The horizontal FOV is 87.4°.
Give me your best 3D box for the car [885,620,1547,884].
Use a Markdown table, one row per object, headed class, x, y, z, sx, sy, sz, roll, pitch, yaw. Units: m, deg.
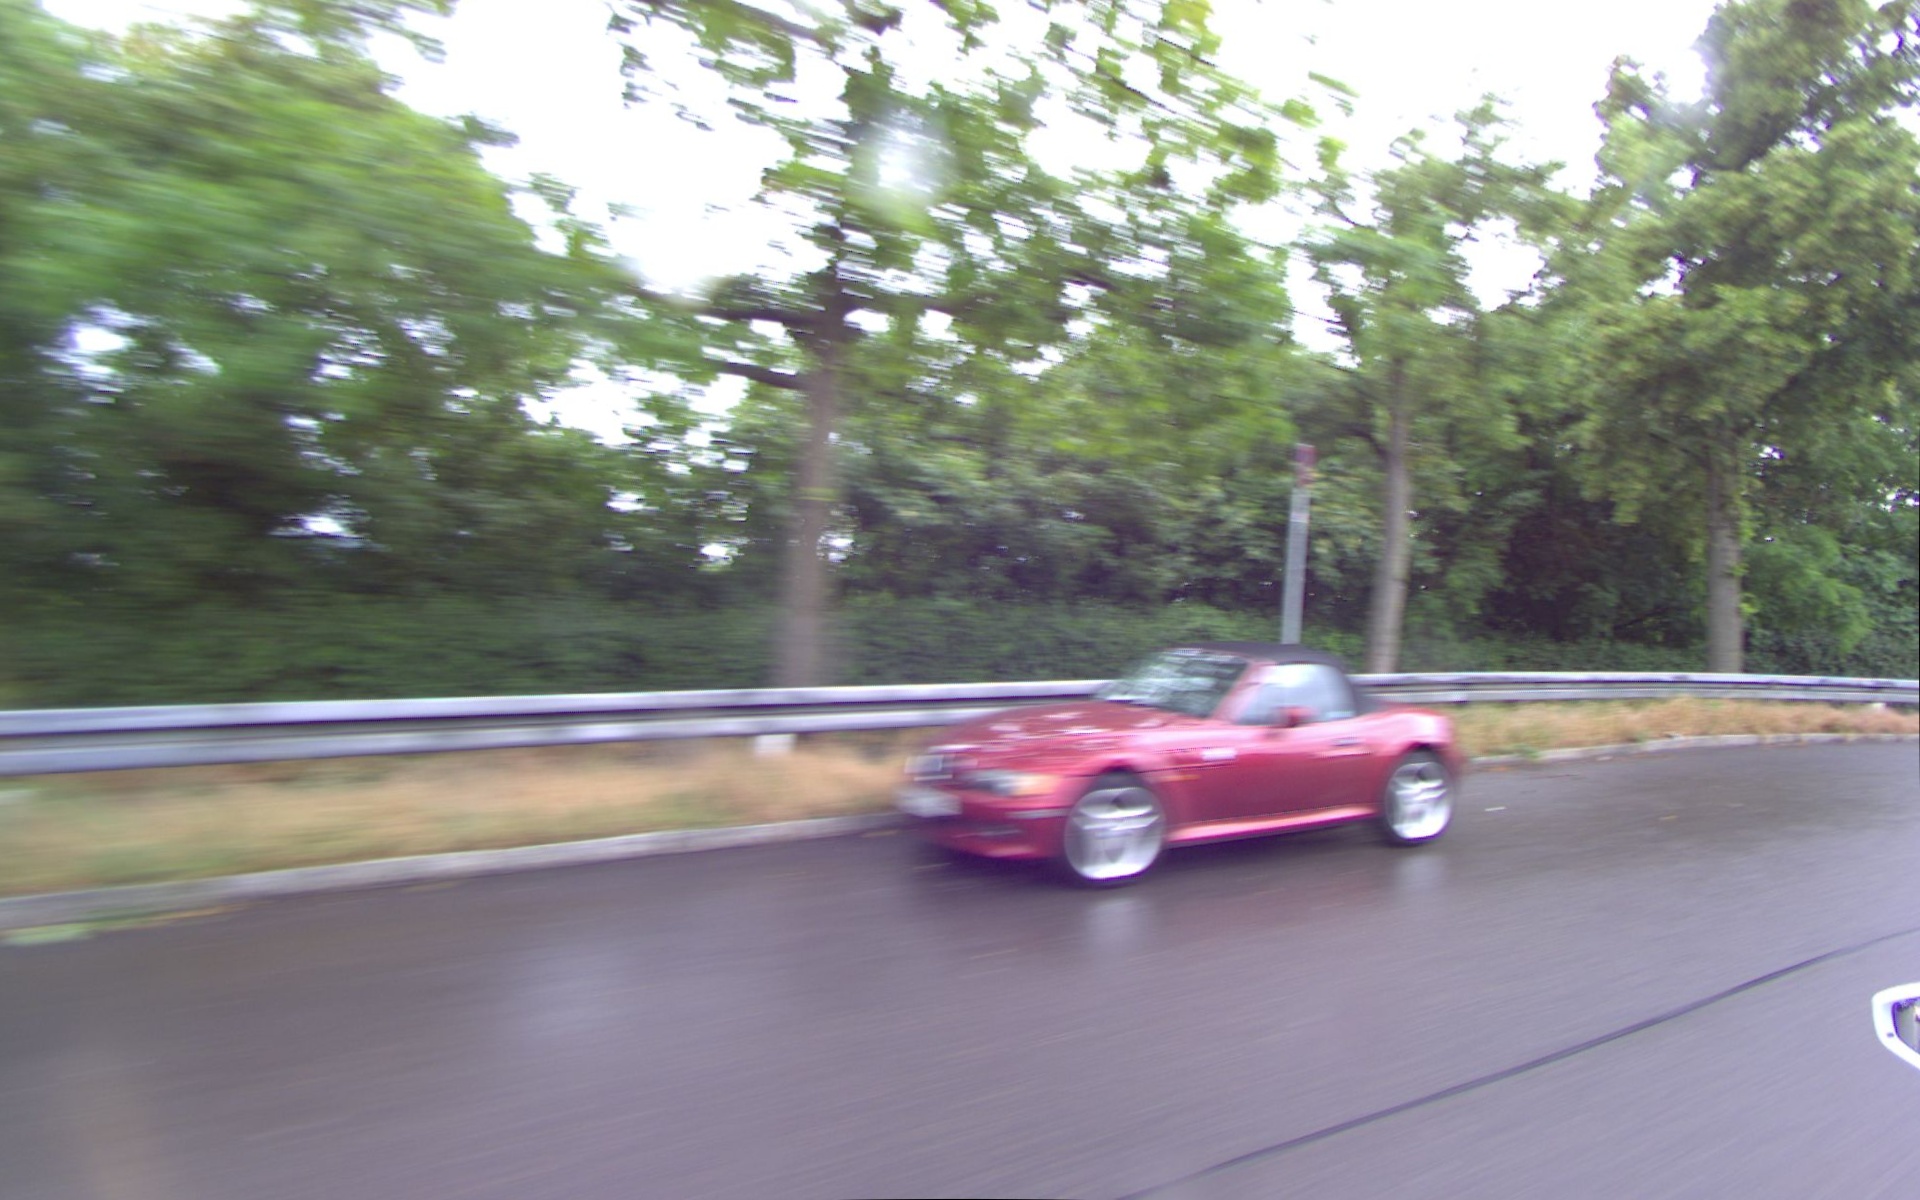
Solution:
| class | x | y | z | sx | sy | sz | roll | pitch | yaw |
| --- | --- | --- | --- | --- | --- | --- | --- | --- | --- |
| car | 1.810 | 0.846 | 6.828 | 4.270 | 1.314 | 1.783 | 2 | -2 | -27 |
